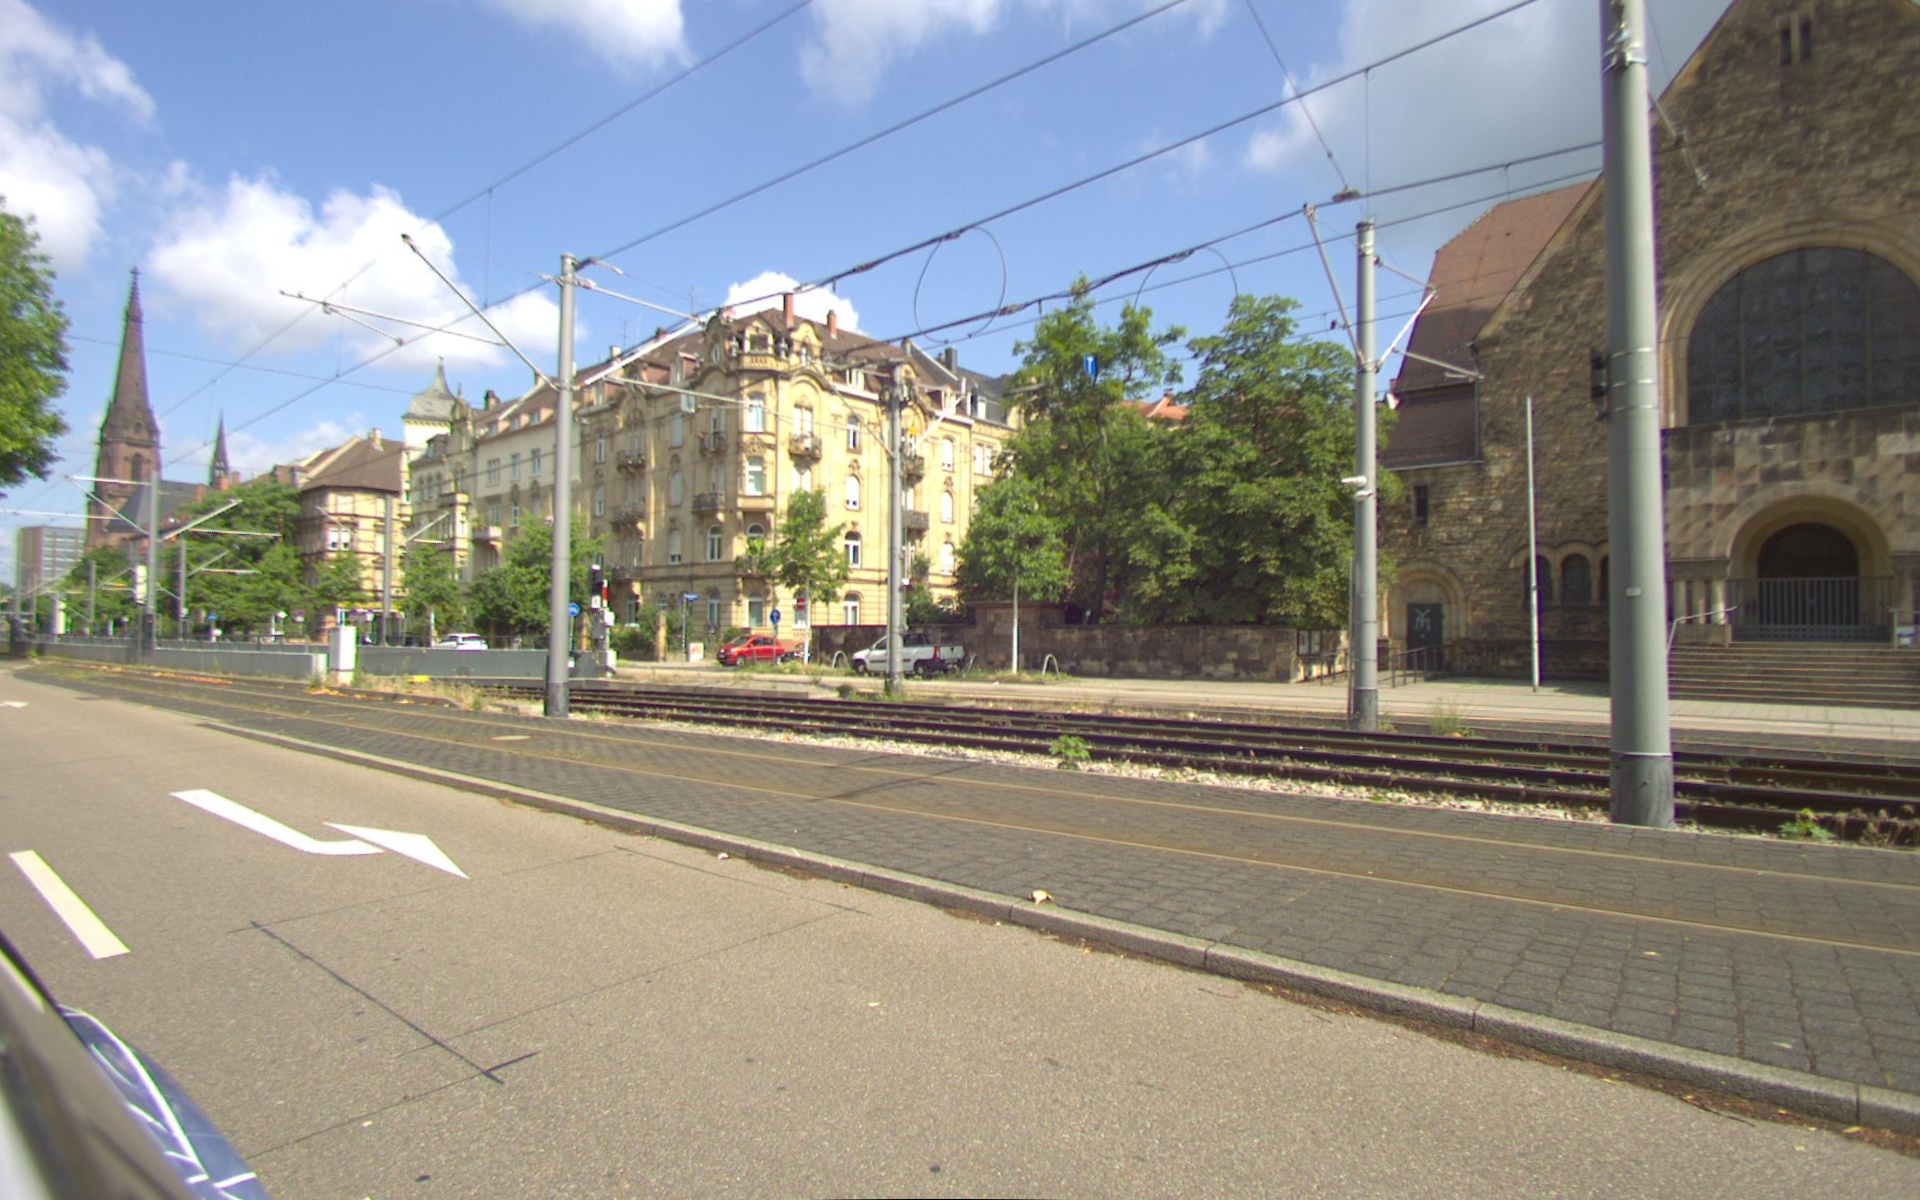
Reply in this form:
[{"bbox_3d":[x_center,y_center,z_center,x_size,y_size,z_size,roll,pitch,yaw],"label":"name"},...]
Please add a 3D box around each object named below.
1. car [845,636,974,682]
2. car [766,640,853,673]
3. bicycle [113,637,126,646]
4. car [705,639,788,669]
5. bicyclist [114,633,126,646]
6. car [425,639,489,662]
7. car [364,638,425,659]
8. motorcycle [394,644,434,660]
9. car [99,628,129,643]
[{"bbox_3d":[-1.815,2.033,35.551,4.409,1.516,1.912,-2,-3,39],"label":"car"},{"bbox_3d":[-7.098,2.664,48.099,1.723,1.475,3.921,-2,-3,41],"label":"car"},{"bbox_3d":[-91.079,4.501,109.659,2.140,0.986,0.767,-2,-5,42],"label":"bicycle"},{"bbox_3d":[-11.012,2.756,52.333,1.933,1.475,3.738,-2,-3,44],"label":"car"},{"bbox_3d":[-90.966,4.277,109.555,1.048,1.348,0.759,-2,-5,41],"label":"bicyclist"},{"bbox_3d":[-29.587,2.957,59.504,4.308,1.338,1.734,-2,-3,39],"label":"car"},{"bbox_3d":[-36.440,3.092,65.174,4.096,1.337,2.000,-2,-3,39],"label":"car"},{"bbox_3d":[-34.200,3.240,63.388,1.416,0.949,1.743,-2,-5,39],"label":"motorcycle"},{"bbox_3d":[-98.381,4.161,117.628,4.111,1.650,1.973,-2,-3,41],"label":"car"}]
